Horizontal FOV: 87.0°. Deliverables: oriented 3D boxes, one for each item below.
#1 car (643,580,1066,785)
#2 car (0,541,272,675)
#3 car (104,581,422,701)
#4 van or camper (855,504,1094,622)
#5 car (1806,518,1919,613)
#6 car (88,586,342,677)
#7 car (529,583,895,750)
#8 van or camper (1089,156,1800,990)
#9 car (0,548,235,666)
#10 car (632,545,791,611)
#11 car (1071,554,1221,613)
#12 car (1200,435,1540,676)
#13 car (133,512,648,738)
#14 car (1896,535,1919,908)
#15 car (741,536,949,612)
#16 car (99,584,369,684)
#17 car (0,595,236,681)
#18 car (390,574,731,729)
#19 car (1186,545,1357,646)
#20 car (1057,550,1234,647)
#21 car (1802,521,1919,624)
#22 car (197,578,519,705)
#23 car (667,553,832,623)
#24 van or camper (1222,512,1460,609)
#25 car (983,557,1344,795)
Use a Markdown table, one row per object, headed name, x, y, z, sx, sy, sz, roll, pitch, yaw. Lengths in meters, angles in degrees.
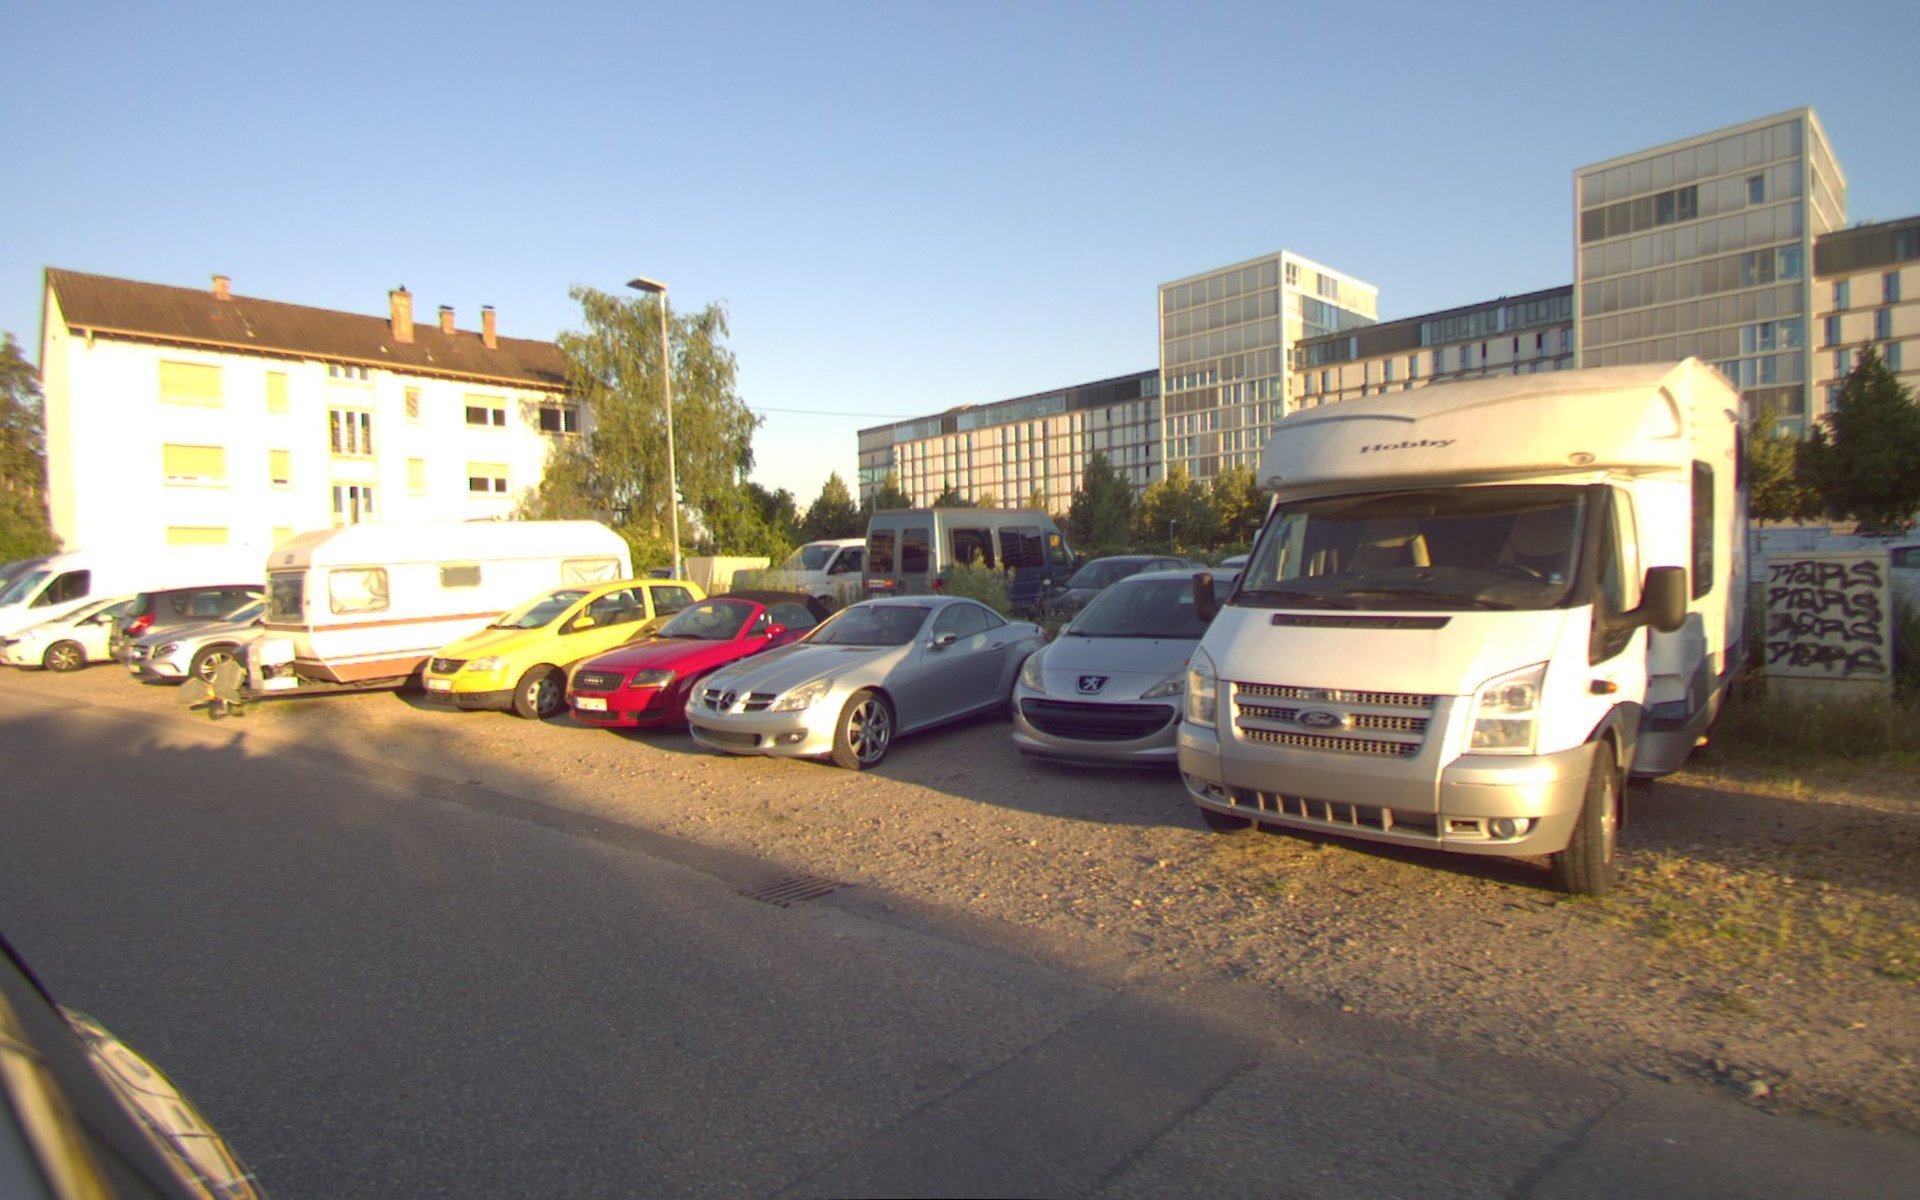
| name | x | y | z | sx | sy | sz | roll | pitch | yaw |
| --- | --- | --- | --- | --- | --- | --- | --- | --- | --- |
| car | -0.761 | 0.580 | 9.281 | 1.690 | 1.338 | 3.773 | -1 | 2 | 37 |
| car | -19.935 | 0.092 | 23.777 | 2.044 | 2.732 | 5.782 | -2 | 3 | 32 |
| car | -11.753 | 0.584 | 17.337 | 1.744 | 1.602 | 4.091 | -1 | 3 | 35 |
| van or camper | 0.376 | -0.702 | 18.528 | 1.933 | 1.905 | 4.290 | -1 | 2 | 43 |
| car | 17.490 | -0.642 | 17.346 | 1.643 | 1.633 | 4.411 | -5 | 3 | -42 |
| car | -15.424 | 0.573 | 21.151 | 1.744 | 1.602 | 3.893 | 0 | 3 | 34 |
| car | -2.571 | 0.601 | 11.230 | 1.702 | 1.377 | 3.694 | -1 | 2 | 36 |
| van or camper | 3.841 | -0.224 | 6.817 | 2.409 | 2.919 | 6.668 | -1 | 2 | 43 |
| car | -23.056 | 0.089 | 26.442 | 2.103 | 2.732 | 6.351 | 0 | 3 | 27 |
| car | -6.269 | -0.583 | 25.799 | 1.664 | 1.487 | 3.568 | -1 | 2 | 41 |
| car | 5.026 | -0.428 | 27.546 | 3.684 | 1.472 | 1.685 | -1 | 0 | 44 |
| car | 6.043 | -0.650 | 14.314 | 2.224 | 2.693 | 6.173 | -1 | 2 | 44 |
| car | -7.736 | 0.096 | 14.418 | 2.410 | 2.552 | 5.830 | 0 | 4 | 40 |
| car | 5.913 | 0.462 | 3.040 | 1.665 | 1.530 | 4.369 | -4 | 3 | -39 |
| car | -2.511 | -0.618 | 22.862 | 4.316 | 1.487 | 1.984 | -4 | 2 | -44 |
| car | -13.774 | 0.572 | 19.356 | 1.748 | 1.602 | 3.883 | -1 | 2 | 43 |
| car | -18.132 | 0.744 | 21.672 | 1.785 | 1.518 | 3.892 | -1 | 2 | 35 |
| car | -4.868 | 0.530 | 12.739 | 1.702 | 1.530 | 3.597 | -1 | 2 | 36 |
| car | 5.328 | -0.127 | 17.038 | 1.689 | 1.487 | 3.573 | -1 | 2 | 36 |
| car | 3.371 | -0.074 | 17.946 | 1.689 | 1.487 | 3.573 | -1 | 2 | 36 |
| car | 15.448 | -0.471 | 14.966 | 1.643 | 1.510 | 4.411 | -5 | 2 | -42 |
| car | -9.603 | 0.555 | 16.446 | 1.745 | 1.602 | 4.089 | 0 | 3 | 37 |
| car | -5.016 | -0.319 | 24.441 | 1.664 | 1.487 | 3.568 | -1 | 2 | 41 |
| van or camper | 11.686 | -1.139 | 31.505 | 6.641 | 2.710 | 1.992 | -1 | 3 | 44 |
| car | 1.891 | 0.448 | 8.501 | 1.689 | 1.487 | 3.575 | -2 | 2 | 34 |
